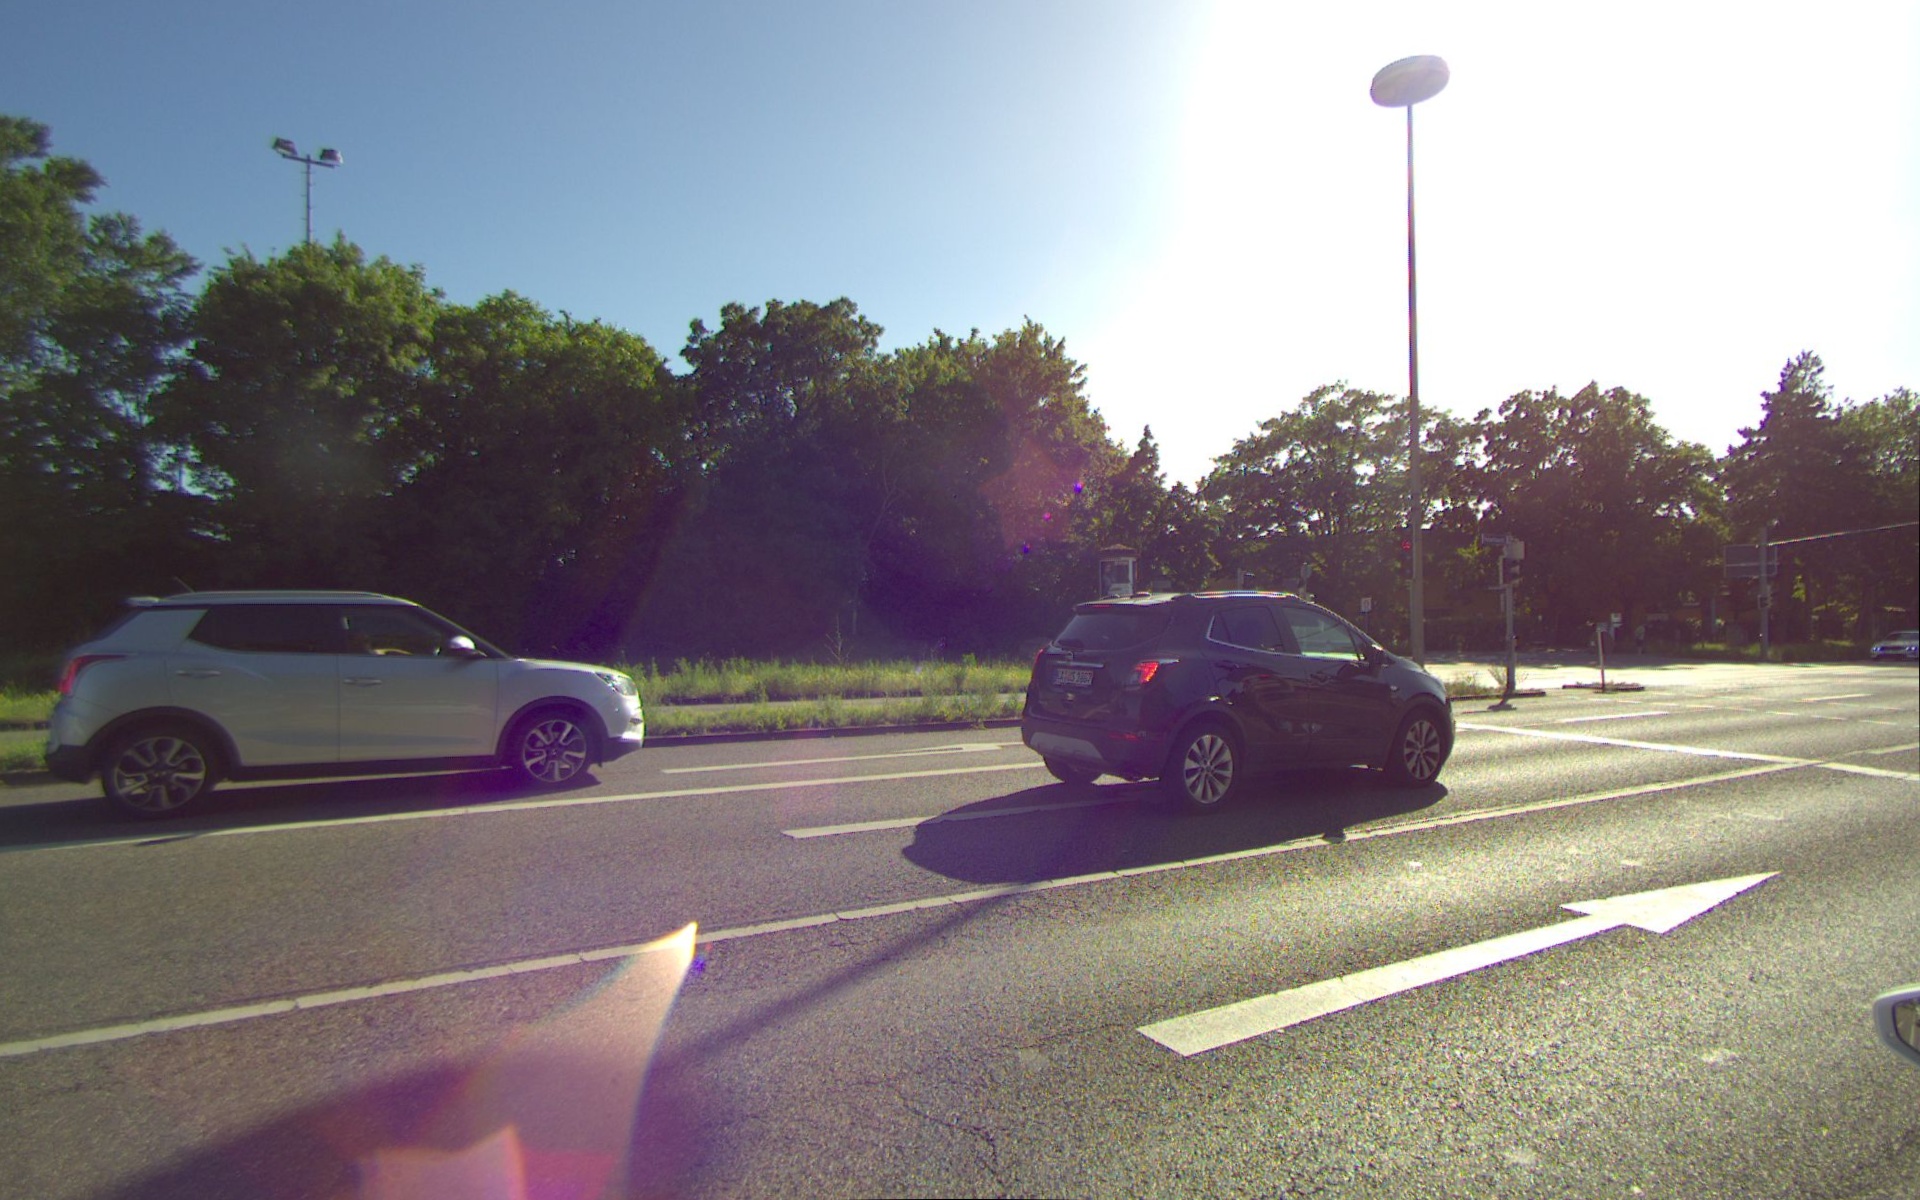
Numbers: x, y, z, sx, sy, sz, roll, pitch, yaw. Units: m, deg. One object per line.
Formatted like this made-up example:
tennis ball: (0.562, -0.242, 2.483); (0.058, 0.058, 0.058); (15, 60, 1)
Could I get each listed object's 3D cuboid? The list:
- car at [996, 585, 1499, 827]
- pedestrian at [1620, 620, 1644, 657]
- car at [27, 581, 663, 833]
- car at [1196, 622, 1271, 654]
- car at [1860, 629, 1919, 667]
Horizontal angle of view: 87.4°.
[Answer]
car: (2.596, 0.781, 8.733); (4.366, 1.653, 1.688); (1, -1, -30)
pedestrian: (34.257, 1.947, 51.197); (0.542, 1.859, 0.843); (0, -2, -26)
car: (-4.728, 0.750, 8.328); (4.058, 1.631, 1.776); (1, -1, -30)
car: (14.091, 1.947, 51.917); (1.842, 1.442, 3.914); (2, 0, -19)
car: (46.041, 2.316, 49.080); (4.210, 1.706, 1.855); (2, 0, -30)
